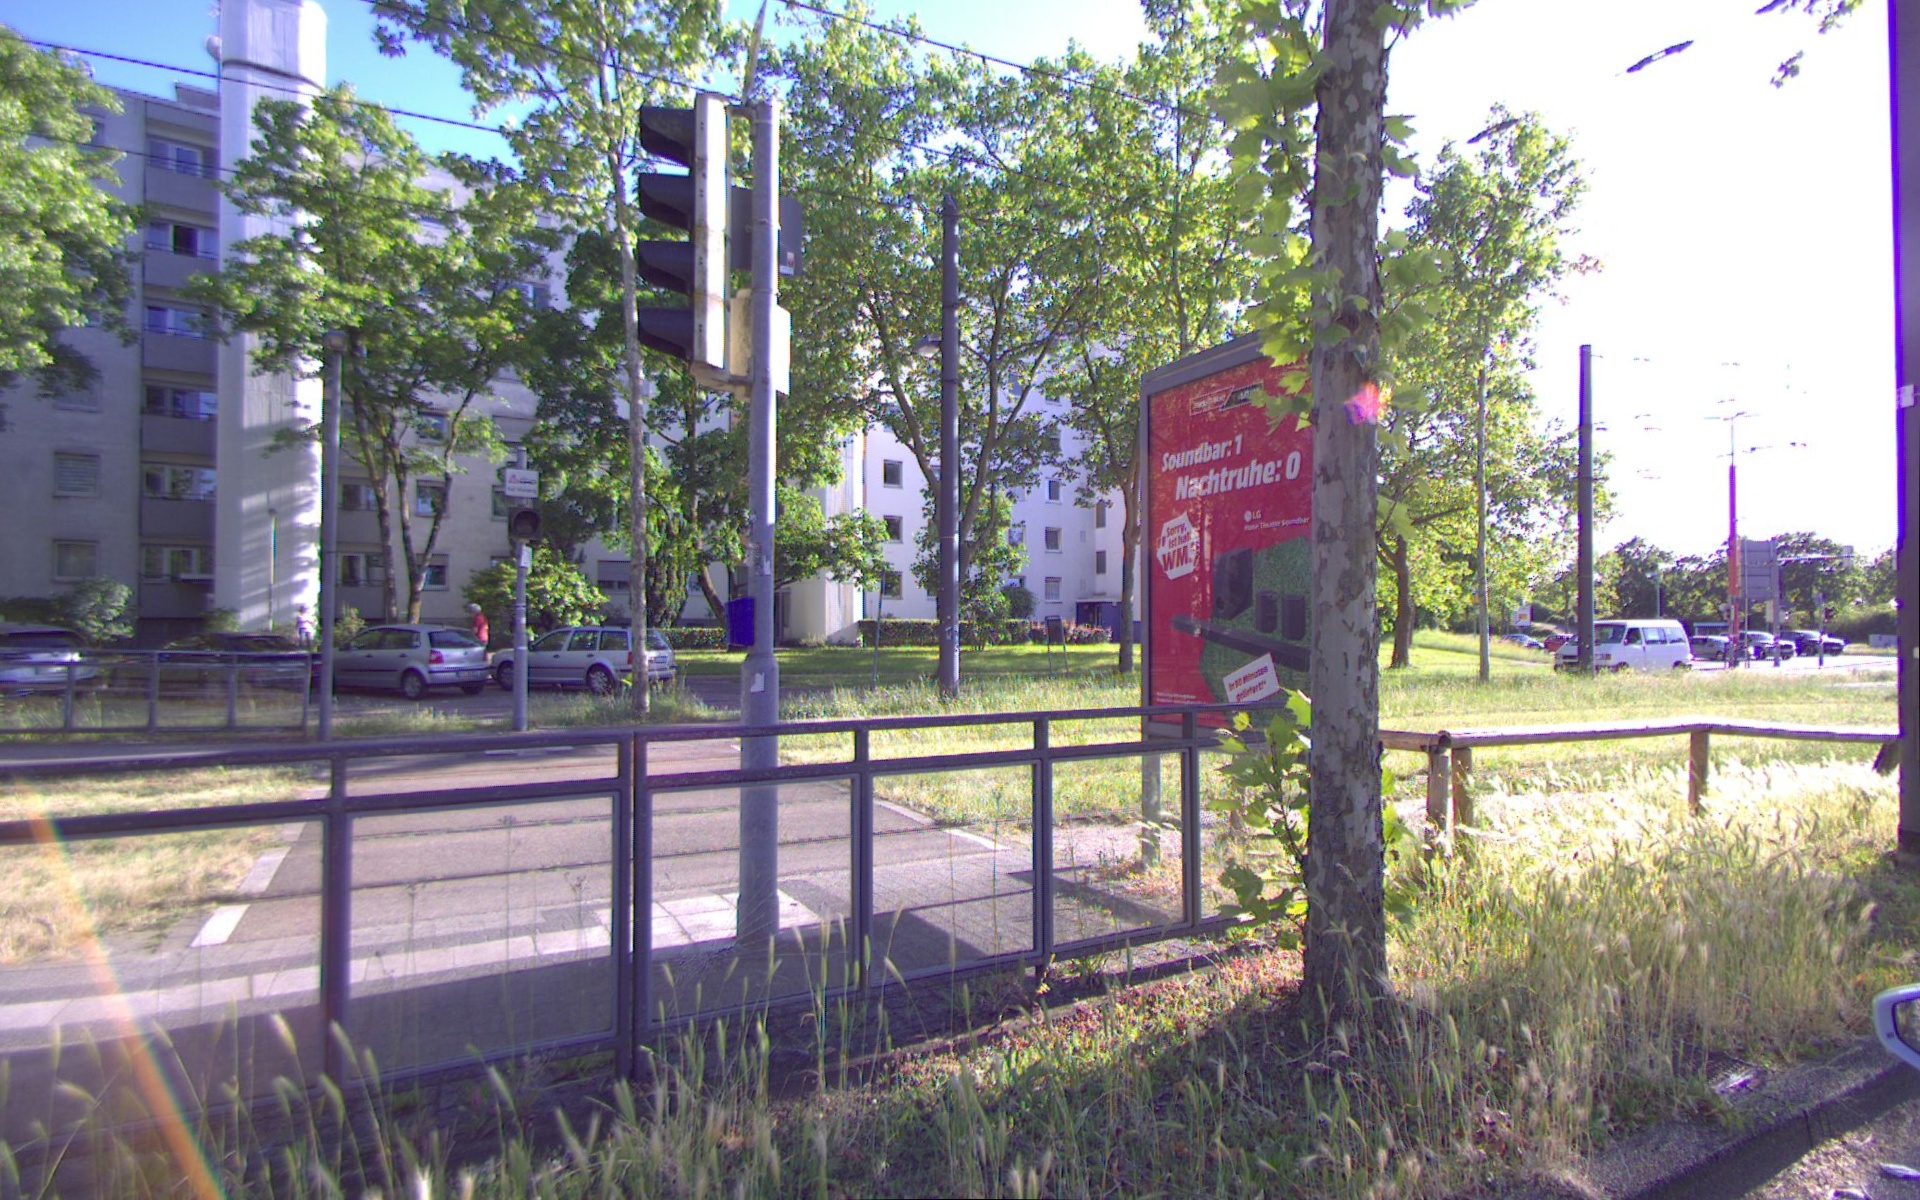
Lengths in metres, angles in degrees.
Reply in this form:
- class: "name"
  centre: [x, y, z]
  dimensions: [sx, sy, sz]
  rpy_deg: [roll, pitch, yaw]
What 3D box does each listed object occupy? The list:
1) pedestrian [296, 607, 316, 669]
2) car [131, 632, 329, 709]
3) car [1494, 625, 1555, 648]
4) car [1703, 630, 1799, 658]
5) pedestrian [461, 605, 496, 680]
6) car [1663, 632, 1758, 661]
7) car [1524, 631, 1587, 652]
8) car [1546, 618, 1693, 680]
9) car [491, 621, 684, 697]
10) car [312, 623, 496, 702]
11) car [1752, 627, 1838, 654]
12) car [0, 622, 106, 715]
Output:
- class: "pedestrian"
  centre: [-19.460, 1.133, 29.877]
  dimensions: [0.445, 1.815, 0.315]
  rpy_deg: [1, -1, -36]
- class: "car"
  centre: [-13.840, 1.283, 19.054]
  dimensions: [3.318, 1.270, 1.465]
  rpy_deg: [1, -1, 21]
- class: "car"
  centre: [45.706, 2.938, 81.469]
  dimensions: [1.866, 1.632, 4.492]
  rpy_deg: [-2, -1, -10]
- class: "car"
  centre: [48.619, 2.700, 61.830]
  dimensions: [1.866, 1.632, 4.493]
  rpy_deg: [-2, -2, -10]
- class: "pedestrian"
  centre: [-11.832, 1.029, 24.701]
  dimensions: [0.709, 1.815, 0.473]
  rpy_deg: [1, -1, -30]
- class: "car"
  centre: [45.447, 2.803, 60.938]
  dimensions: [1.866, 1.632, 4.493]
  rpy_deg: [-2, -2, -10]
- class: "car"
  centre: [44.603, 3.083, 75.326]
  dimensions: [1.783, 1.455, 4.041]
  rpy_deg: [-2, -2, -10]
- class: "car"
  centre: [20.667, 1.514, 31.453]
  dimensions: [4.508, 1.804, 1.817]
  rpy_deg: [2, -1, -27]
- class: "car"
  centre: [-8.241, 1.247, 22.270]
  dimensions: [3.843, 1.495, 1.632]
  rpy_deg: [1, -1, 19]
- class: "car"
  centre: [-11.513, 1.243, 20.829]
  dimensions: [3.222, 1.450, 1.571]
  rpy_deg: [1, -1, 19]
- class: "car"
  centre: [54.271, 2.615, 65.373]
  dimensions: [1.866, 1.642, 3.994]
  rpy_deg: [-2, -2, -10]
- class: "car"
  centre: [-16.836, 1.121, 17.340]
  dimensions: [3.316, 1.445, 1.541]
  rpy_deg: [1, -1, 14]
